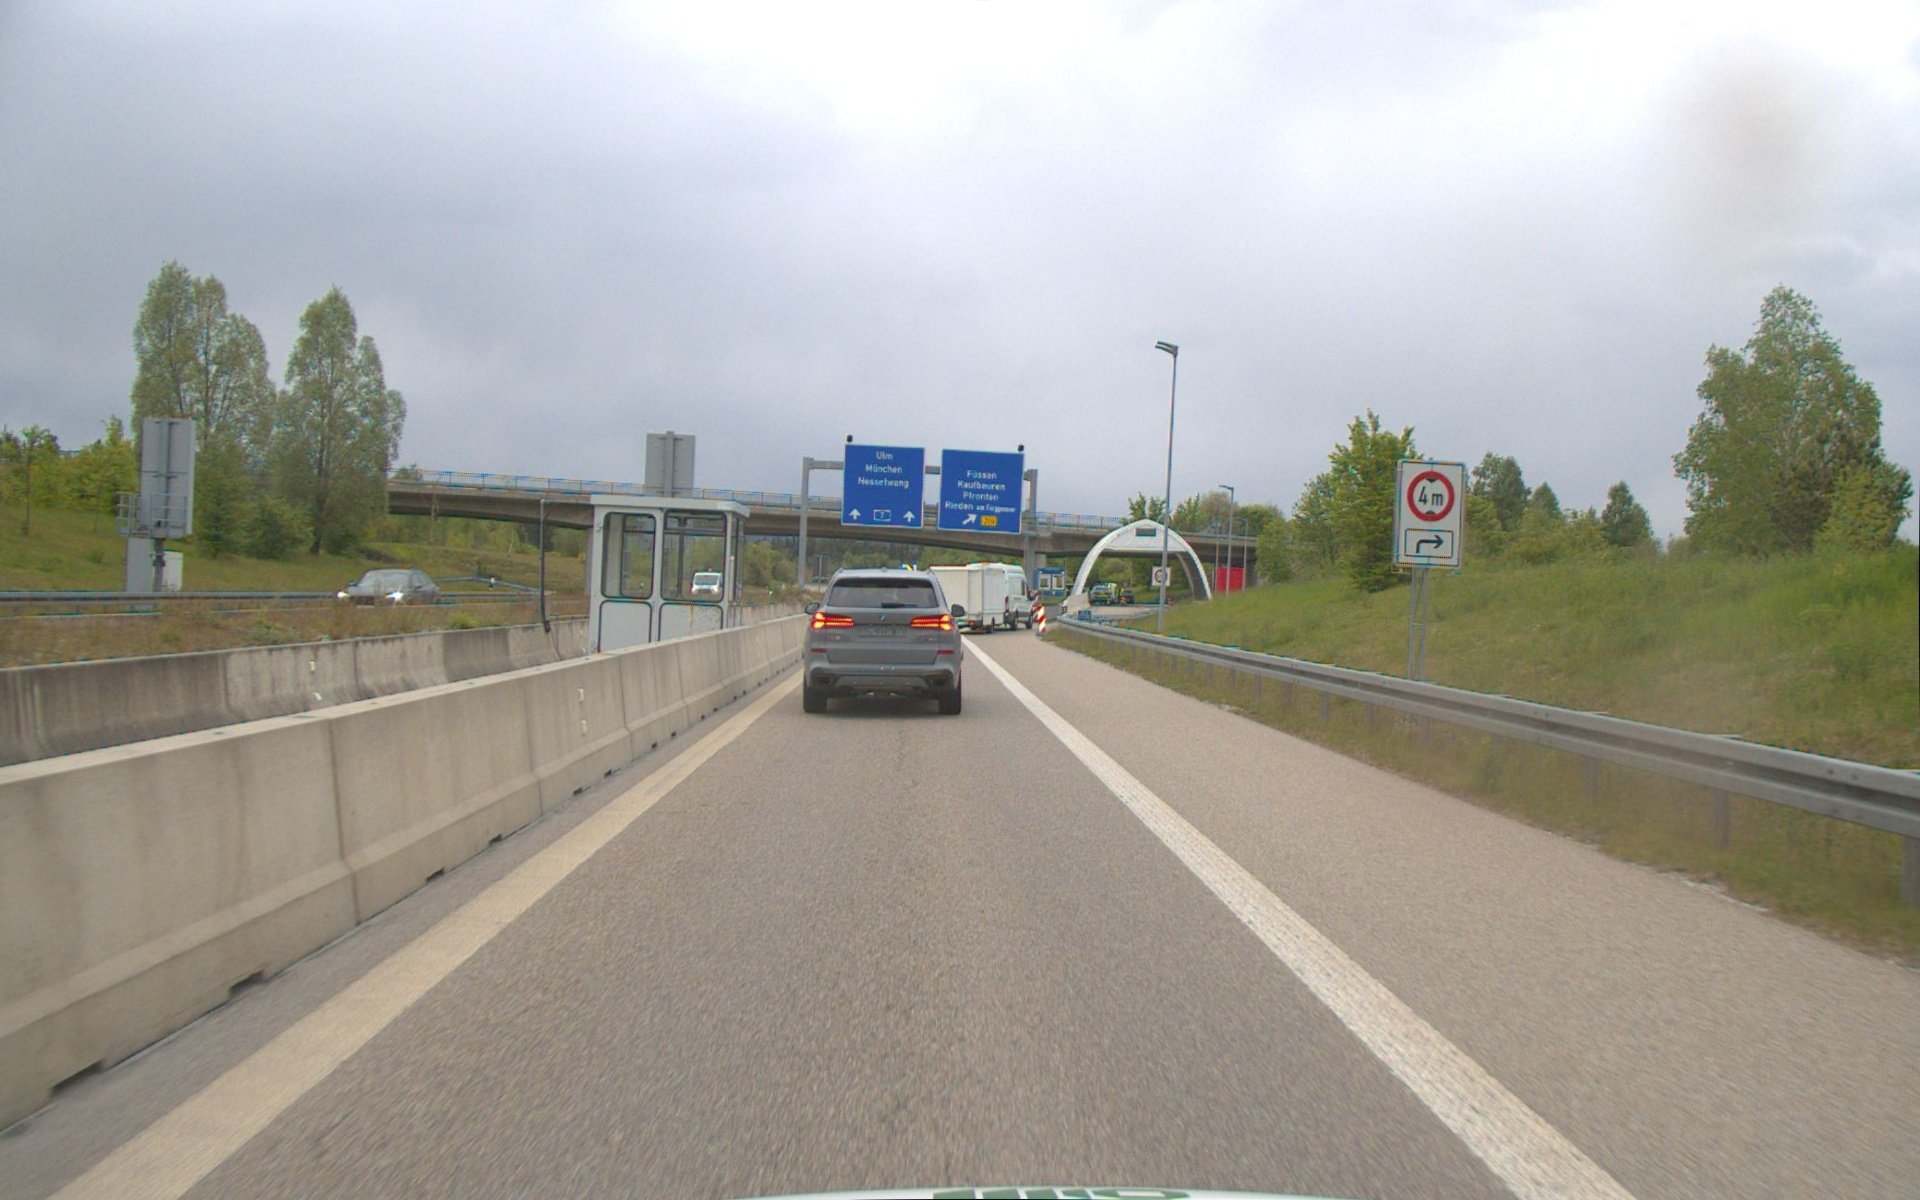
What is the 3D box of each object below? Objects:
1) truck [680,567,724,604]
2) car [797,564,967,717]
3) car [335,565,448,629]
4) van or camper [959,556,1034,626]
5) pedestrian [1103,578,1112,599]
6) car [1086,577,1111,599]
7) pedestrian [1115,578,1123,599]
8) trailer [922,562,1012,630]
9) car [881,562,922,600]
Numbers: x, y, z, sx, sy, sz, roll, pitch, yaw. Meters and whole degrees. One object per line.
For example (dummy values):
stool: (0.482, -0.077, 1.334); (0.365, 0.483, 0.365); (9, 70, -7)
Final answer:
truck: (-18.490, -1.007, 118.809); (2.309, 2.522, 5.986); (2, 0, -2)
car: (-0.956, 0.461, 21.239); (1.953, 1.749, 3.999); (1, 0, -1)
car: (-15.298, -0.077, 44.713); (1.668, 1.602, 4.175); (2, 0, -1)
van or camper: (1.624, -0.346, 70.302); (2.111, 2.812, 5.876); (1, 0, 12)
pedestrian: (12.783, -1.020, 143.358); (0.705, 1.806, 0.690); (0, 0, 3)
car: (11.831, -1.033, 141.052); (1.952, 1.803, 3.767); (0, 0, 2)
pedestrian: (13.858, -0.984, 144.206); (0.634, 1.806, 0.606); (0, 0, 1)
trailer: (0.355, -0.148, 64.015); (2.230, 2.473, 6.823); (1, 0, 11)
car: (-3.370, -1.099, 94.650); (2.240, 2.049, 5.047); (1, 1, -3)
